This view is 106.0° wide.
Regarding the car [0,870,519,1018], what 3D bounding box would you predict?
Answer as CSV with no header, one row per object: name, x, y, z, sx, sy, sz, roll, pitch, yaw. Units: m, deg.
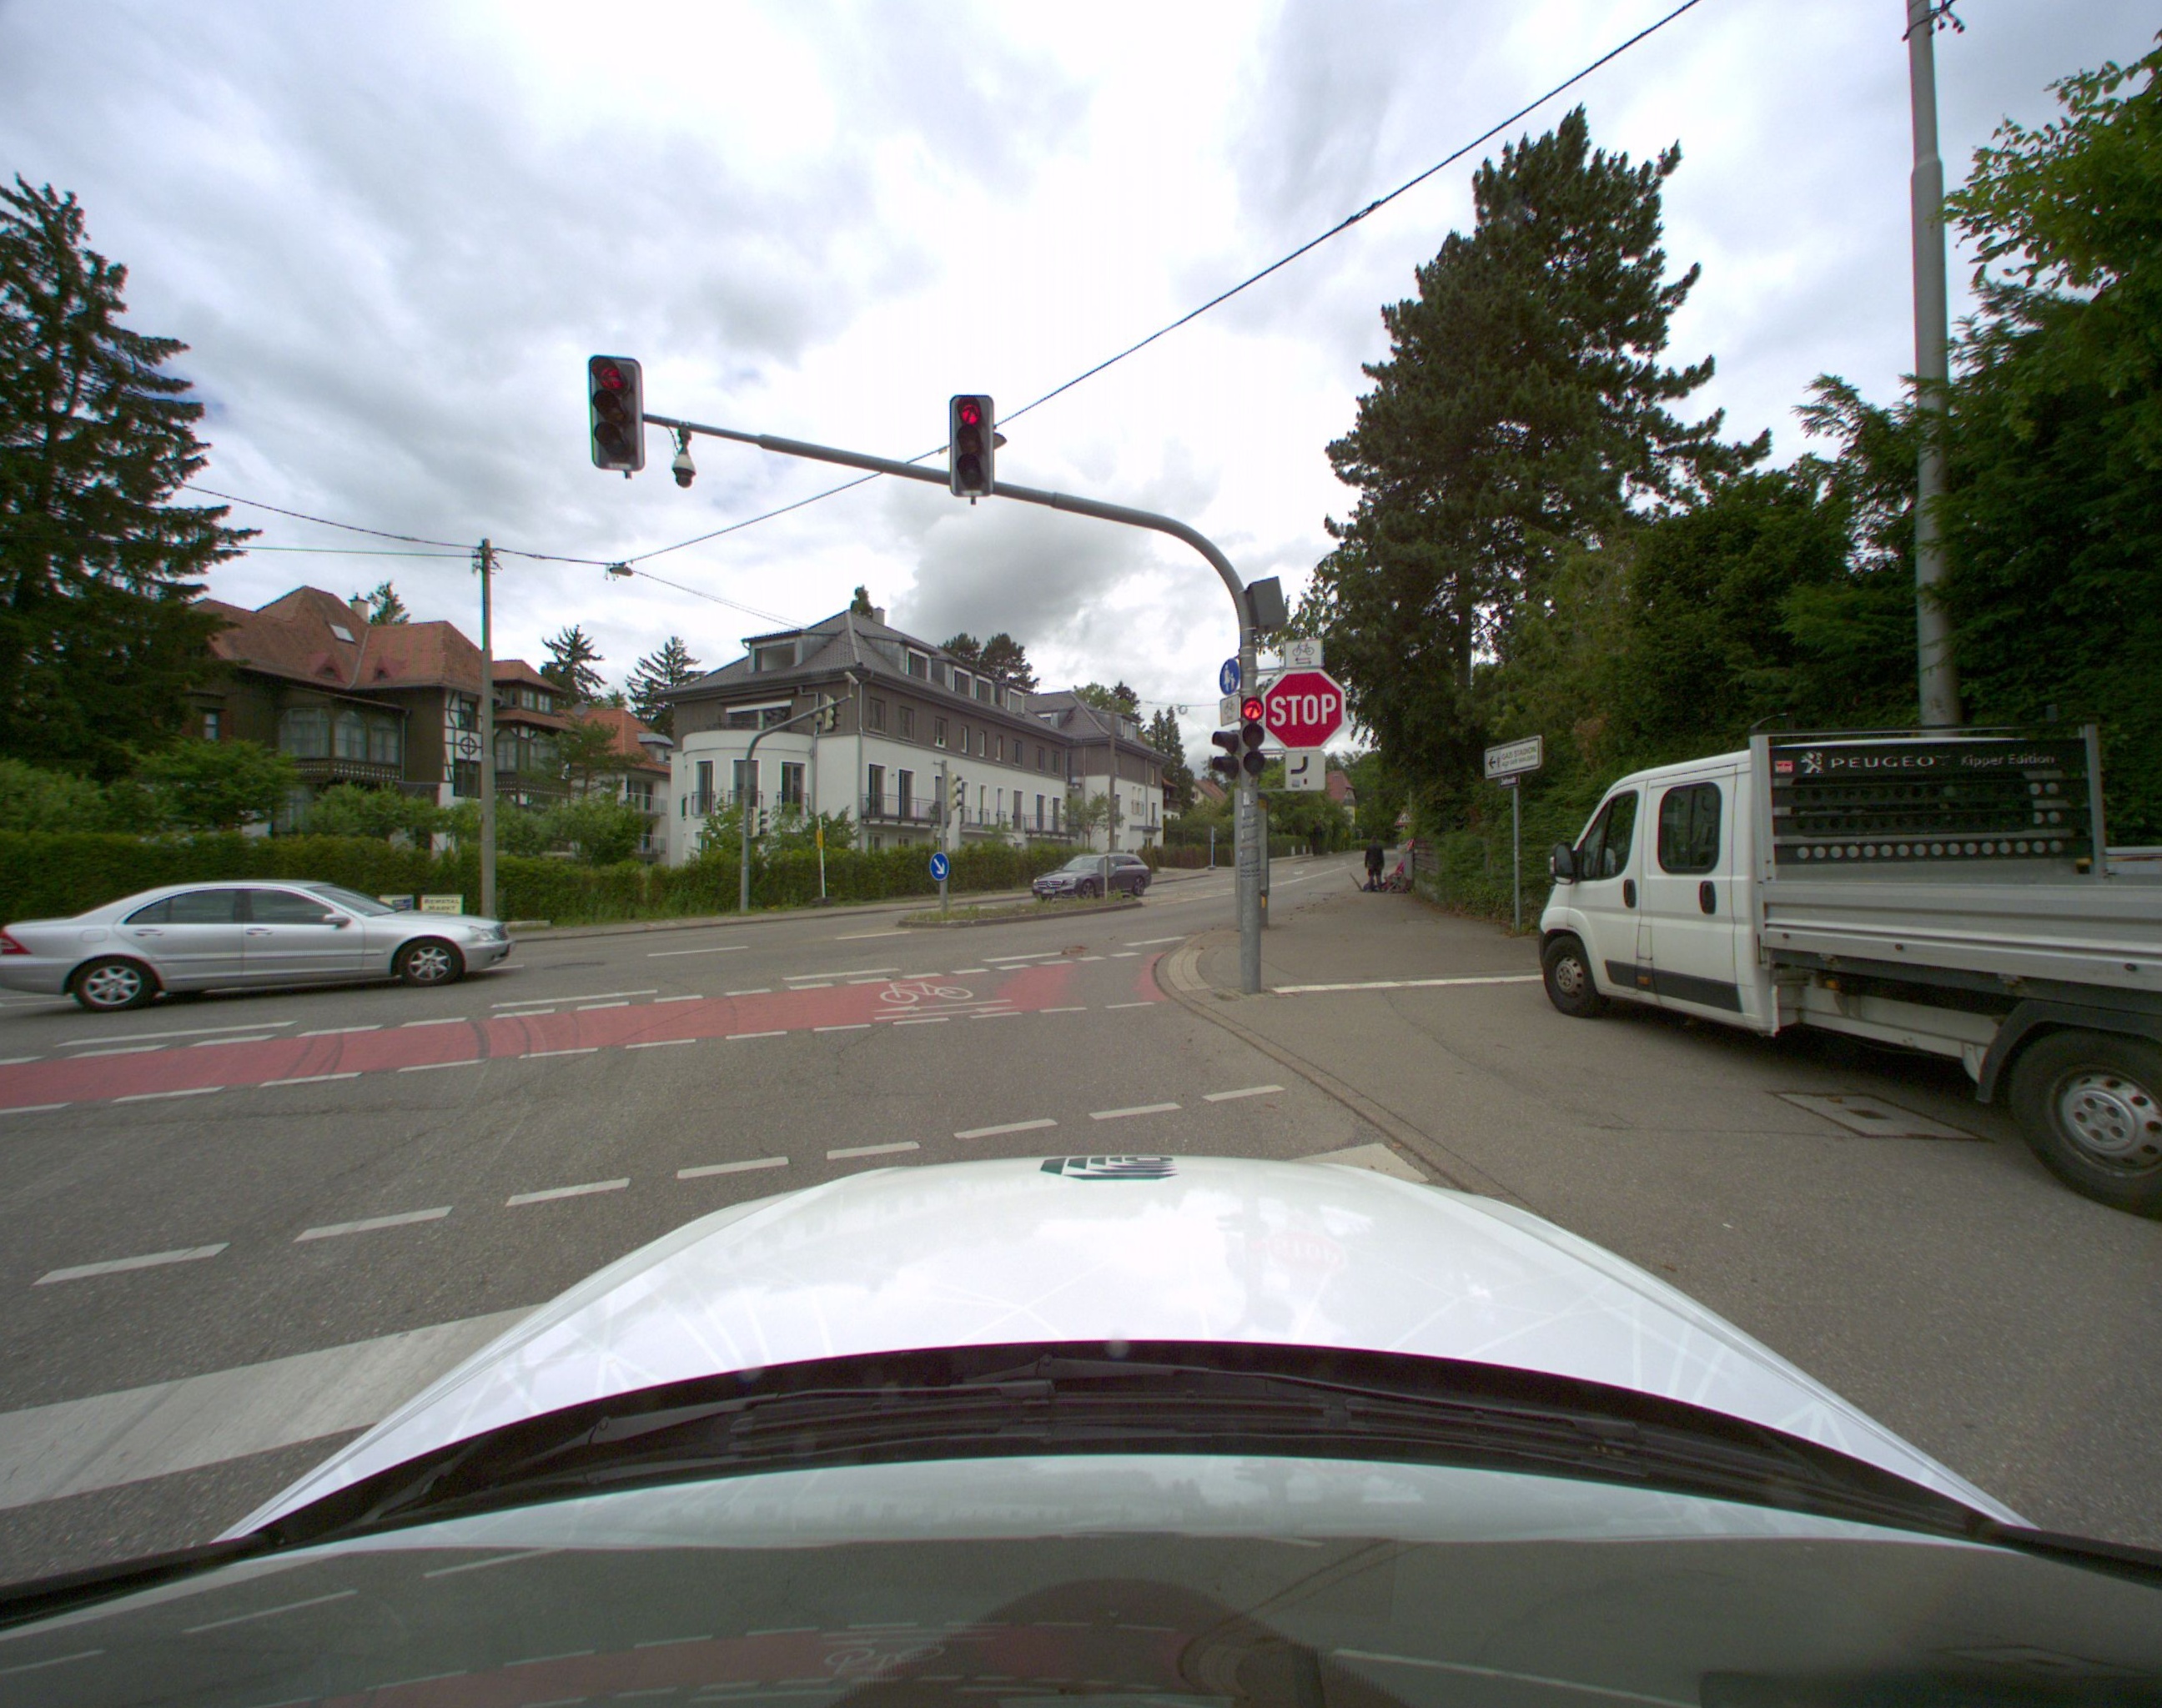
car,-9.875,0.981,10.200,4.434,1.413,1.695,-1,0,-26

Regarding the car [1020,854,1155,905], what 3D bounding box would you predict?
car,0.317,0.749,26.255,1.920,1.403,4.773,-1,0,36

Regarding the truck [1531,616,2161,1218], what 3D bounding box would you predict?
truck,5.263,0.235,4.955,2.198,2.243,5.729,0,0,4

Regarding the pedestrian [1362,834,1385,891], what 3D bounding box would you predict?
pedestrian,9.777,0.280,27.233,0.594,1.907,0.559,0,-1,2
